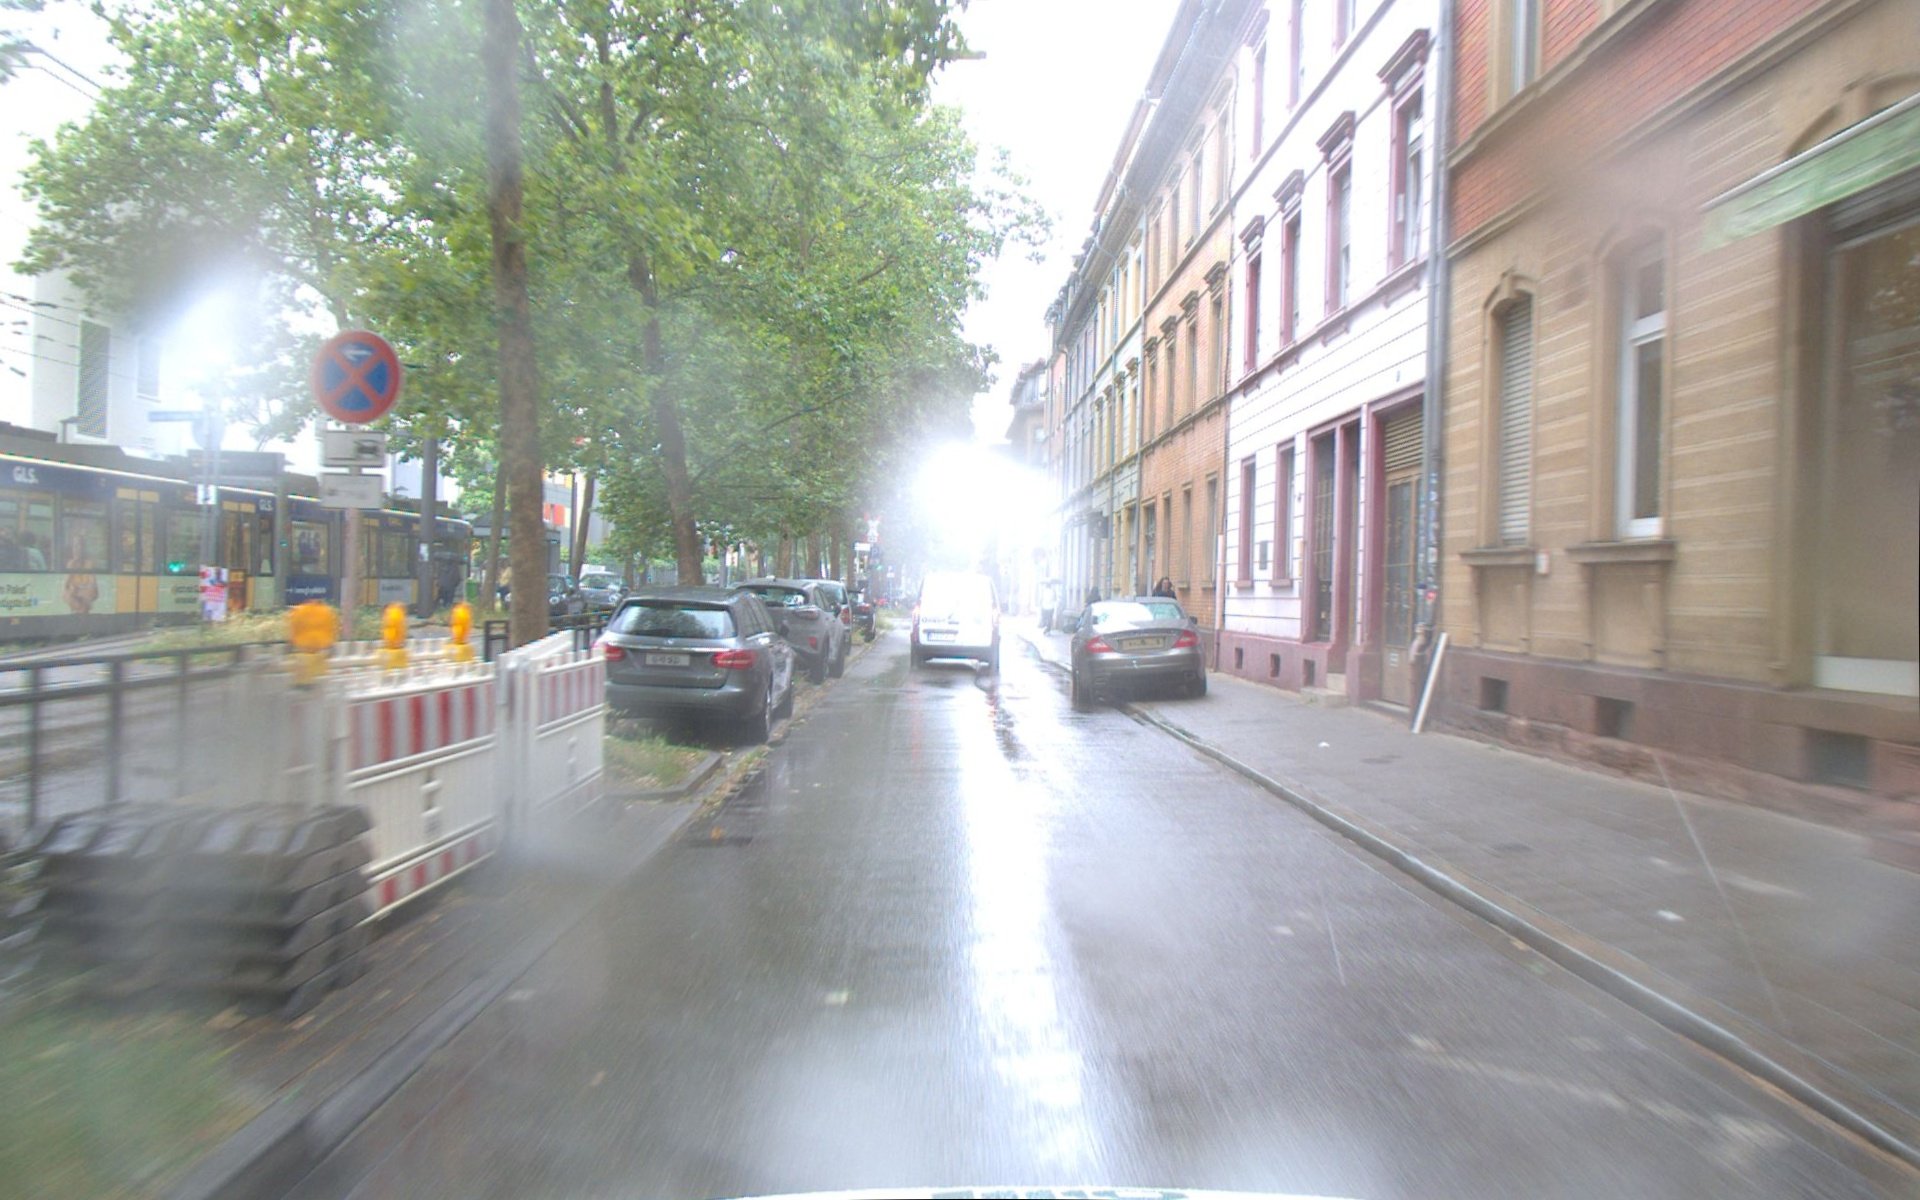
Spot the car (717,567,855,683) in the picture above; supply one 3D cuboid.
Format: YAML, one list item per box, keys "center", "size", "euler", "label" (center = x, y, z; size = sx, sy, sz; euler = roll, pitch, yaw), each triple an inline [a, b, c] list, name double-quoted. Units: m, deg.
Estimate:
- center: [-2.690, 0.358, 26.414]
  size: [1.663, 1.664, 4.355]
  euler: [1, 0, 1]
  label: "car"

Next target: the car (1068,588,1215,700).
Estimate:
- center: [2.587, 0.583, 24.550]
  size: [1.776, 1.445, 4.698]
  euler: [-2, 0, 2]
  label: "car"

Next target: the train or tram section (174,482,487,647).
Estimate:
- center: [-16.099, -0.654, 44.178]
  size: [3.043, 3.621, 14.669]
  euler: [1, -1, -2]
  label: "train or tram section"

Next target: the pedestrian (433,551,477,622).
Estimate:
- center: [-12.641, -0.337, 41.448]
  size: [0.801, 1.733, 0.872]
  euler: [2, 0, -2]
  label: "pedestrian"

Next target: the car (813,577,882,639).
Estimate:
- center: [-3.061, 0.206, 45.620]
  size: [1.615, 1.526, 4.118]
  euler: [3, 0, -1]
  label: "car"

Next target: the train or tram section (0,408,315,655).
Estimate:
- center: [-15.770, -0.938, 29.617]
  size: [3.043, 3.621, 14.571]
  euler: [1, -1, -2]
  label: "train or tram section"

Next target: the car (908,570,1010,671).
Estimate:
- center: [-0.034, 0.420, 33.029]
  size: [1.865, 1.829, 4.112]
  euler: [2, -1, 0]
  label: "car"

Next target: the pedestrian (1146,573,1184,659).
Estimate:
- center: [4.127, 0.316, 33.312]
  size: [0.626, 1.714, 0.603]
  euler: [-1, 0, -2]
  label: "pedestrian"

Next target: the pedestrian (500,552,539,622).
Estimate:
- center: [-13.121, -0.377, 49.307]
  size: [0.851, 2.049, 0.821]
  euler: [2, 0, 2]
  label: "pedestrian"

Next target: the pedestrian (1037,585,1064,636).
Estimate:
- center: [3.173, 0.350, 57.832]
  size: [0.823, 1.746, 1.107]
  euler: [-2, 0, -1]
  label: "pedestrian"

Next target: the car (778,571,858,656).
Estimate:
- center: [-3.071, 0.248, 36.332]
  size: [1.592, 1.711, 3.657]
  euler: [2, 1, -4]
  label: "car"

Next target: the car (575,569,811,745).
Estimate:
- center: [-2.643, 0.521, 17.413]
  size: [1.792, 1.530, 4.612]
  euler: [3, 0, -2]
  label: "car"

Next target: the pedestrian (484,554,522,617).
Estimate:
- center: [-12.903, -0.406, 46.709]
  size: [0.801, 1.733, 0.872]
  euler: [2, 0, -2]
  label: "pedestrian"

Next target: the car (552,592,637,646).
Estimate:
- center: [-11.941, 0.583, 54.243]
  size: [1.953, 1.641, 3.999]
  euler: [2, 0, -2]
  label: "car"

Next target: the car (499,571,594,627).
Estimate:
- center: [-11.439, -0.044, 45.992]
  size: [1.704, 1.366, 3.754]
  euler: [4, 0, -2]
  label: "car"

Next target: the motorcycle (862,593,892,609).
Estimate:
- center: [-4.882, 0.067, 97.578]
  size: [1.670, 0.880, 0.577]
  euler: [2, 0, 4]
  label: "motorcycle"

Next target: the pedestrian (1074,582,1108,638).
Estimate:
- center: [3.675, 0.277, 46.339]
  size: [0.823, 1.538, 1.107]
  euler: [-1, 0, -1]
  label: "pedestrian"
